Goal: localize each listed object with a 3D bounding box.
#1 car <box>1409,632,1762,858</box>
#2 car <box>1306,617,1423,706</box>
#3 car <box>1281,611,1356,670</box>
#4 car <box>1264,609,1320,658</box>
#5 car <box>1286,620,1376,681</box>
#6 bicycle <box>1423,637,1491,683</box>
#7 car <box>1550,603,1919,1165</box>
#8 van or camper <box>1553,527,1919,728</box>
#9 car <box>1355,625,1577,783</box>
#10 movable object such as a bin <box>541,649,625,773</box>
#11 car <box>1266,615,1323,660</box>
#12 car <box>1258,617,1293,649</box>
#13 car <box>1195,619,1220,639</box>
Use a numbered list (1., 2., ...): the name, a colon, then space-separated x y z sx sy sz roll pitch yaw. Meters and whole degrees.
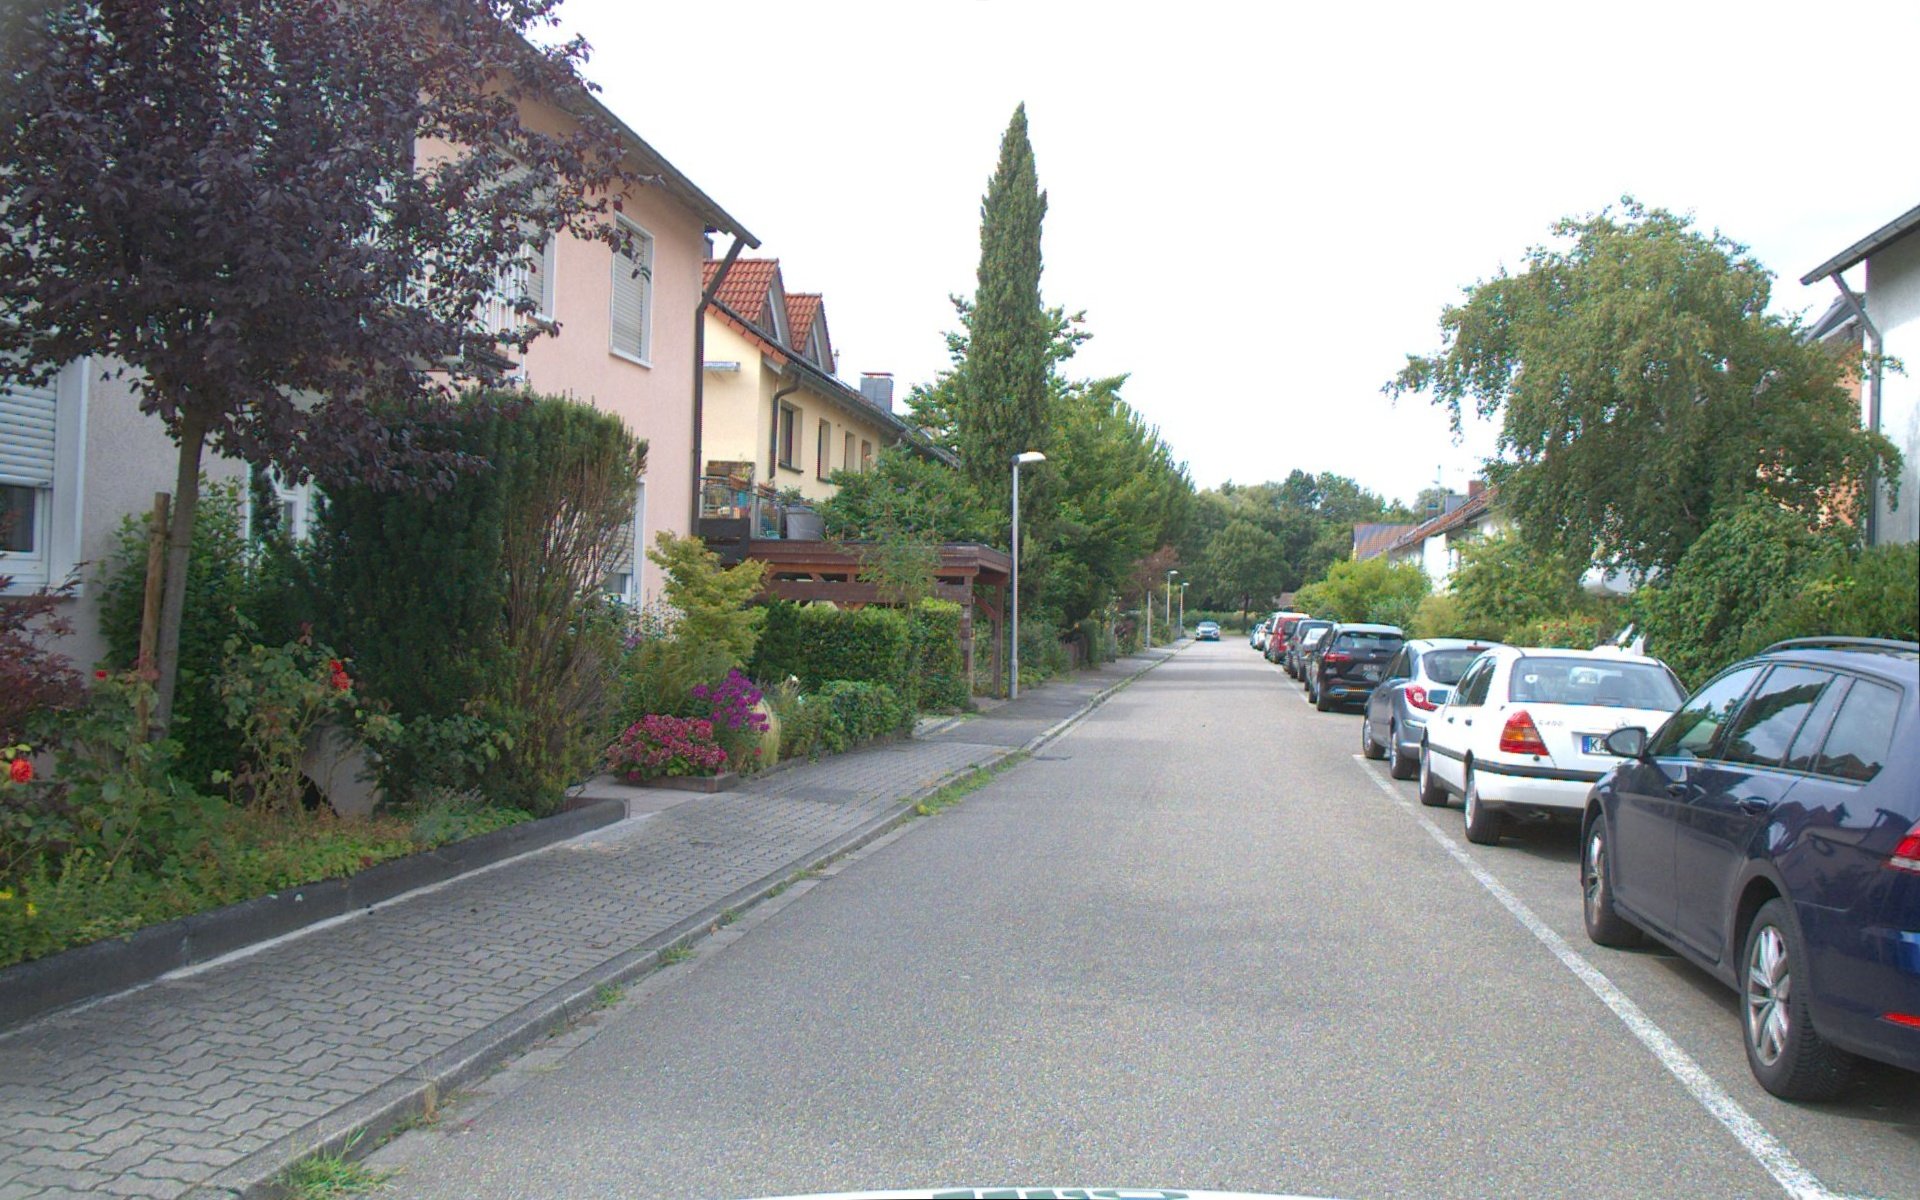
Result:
1. car: 4.732 0.988 13.194 1.657 1.388 4.702 1 0 9
2. car: 7.469 1.088 30.916 1.712 1.493 4.651 1 0 9
3. car: 10.909 1.197 50.599 1.828 1.682 4.467 1 0 7
4. car: 13.907 1.384 69.549 1.977 1.981 4.751 1 -1 7
5. car: 9.866 1.293 44.237 1.828 1.432 4.771 3 0 7
6. bicycle: 11.760 1.415 39.165 1.505 1.041 0.376 1 -1 15
7. car: 3.752 0.789 6.573 1.828 1.465 4.854 1 0 10
8. van or camper: 12.268 0.402 25.161 5.675 2.867 2.538 1 -1 6
9. car: 5.551 1.067 18.618 1.704 1.496 4.220 1 0 8
10. movable object such as a bin: -2.995 0.870 13.151 0.478 0.947 0.506 1 -1 8
11. car: 13.034 1.436 64.620 1.772 1.680 4.413 1 -1 6
12. car: 16.905 1.754 88.771 1.677 1.570 3.976 3 0 10
13. car: 20.036 2.304 133.929 1.892 1.584 4.638 1 -1 10
